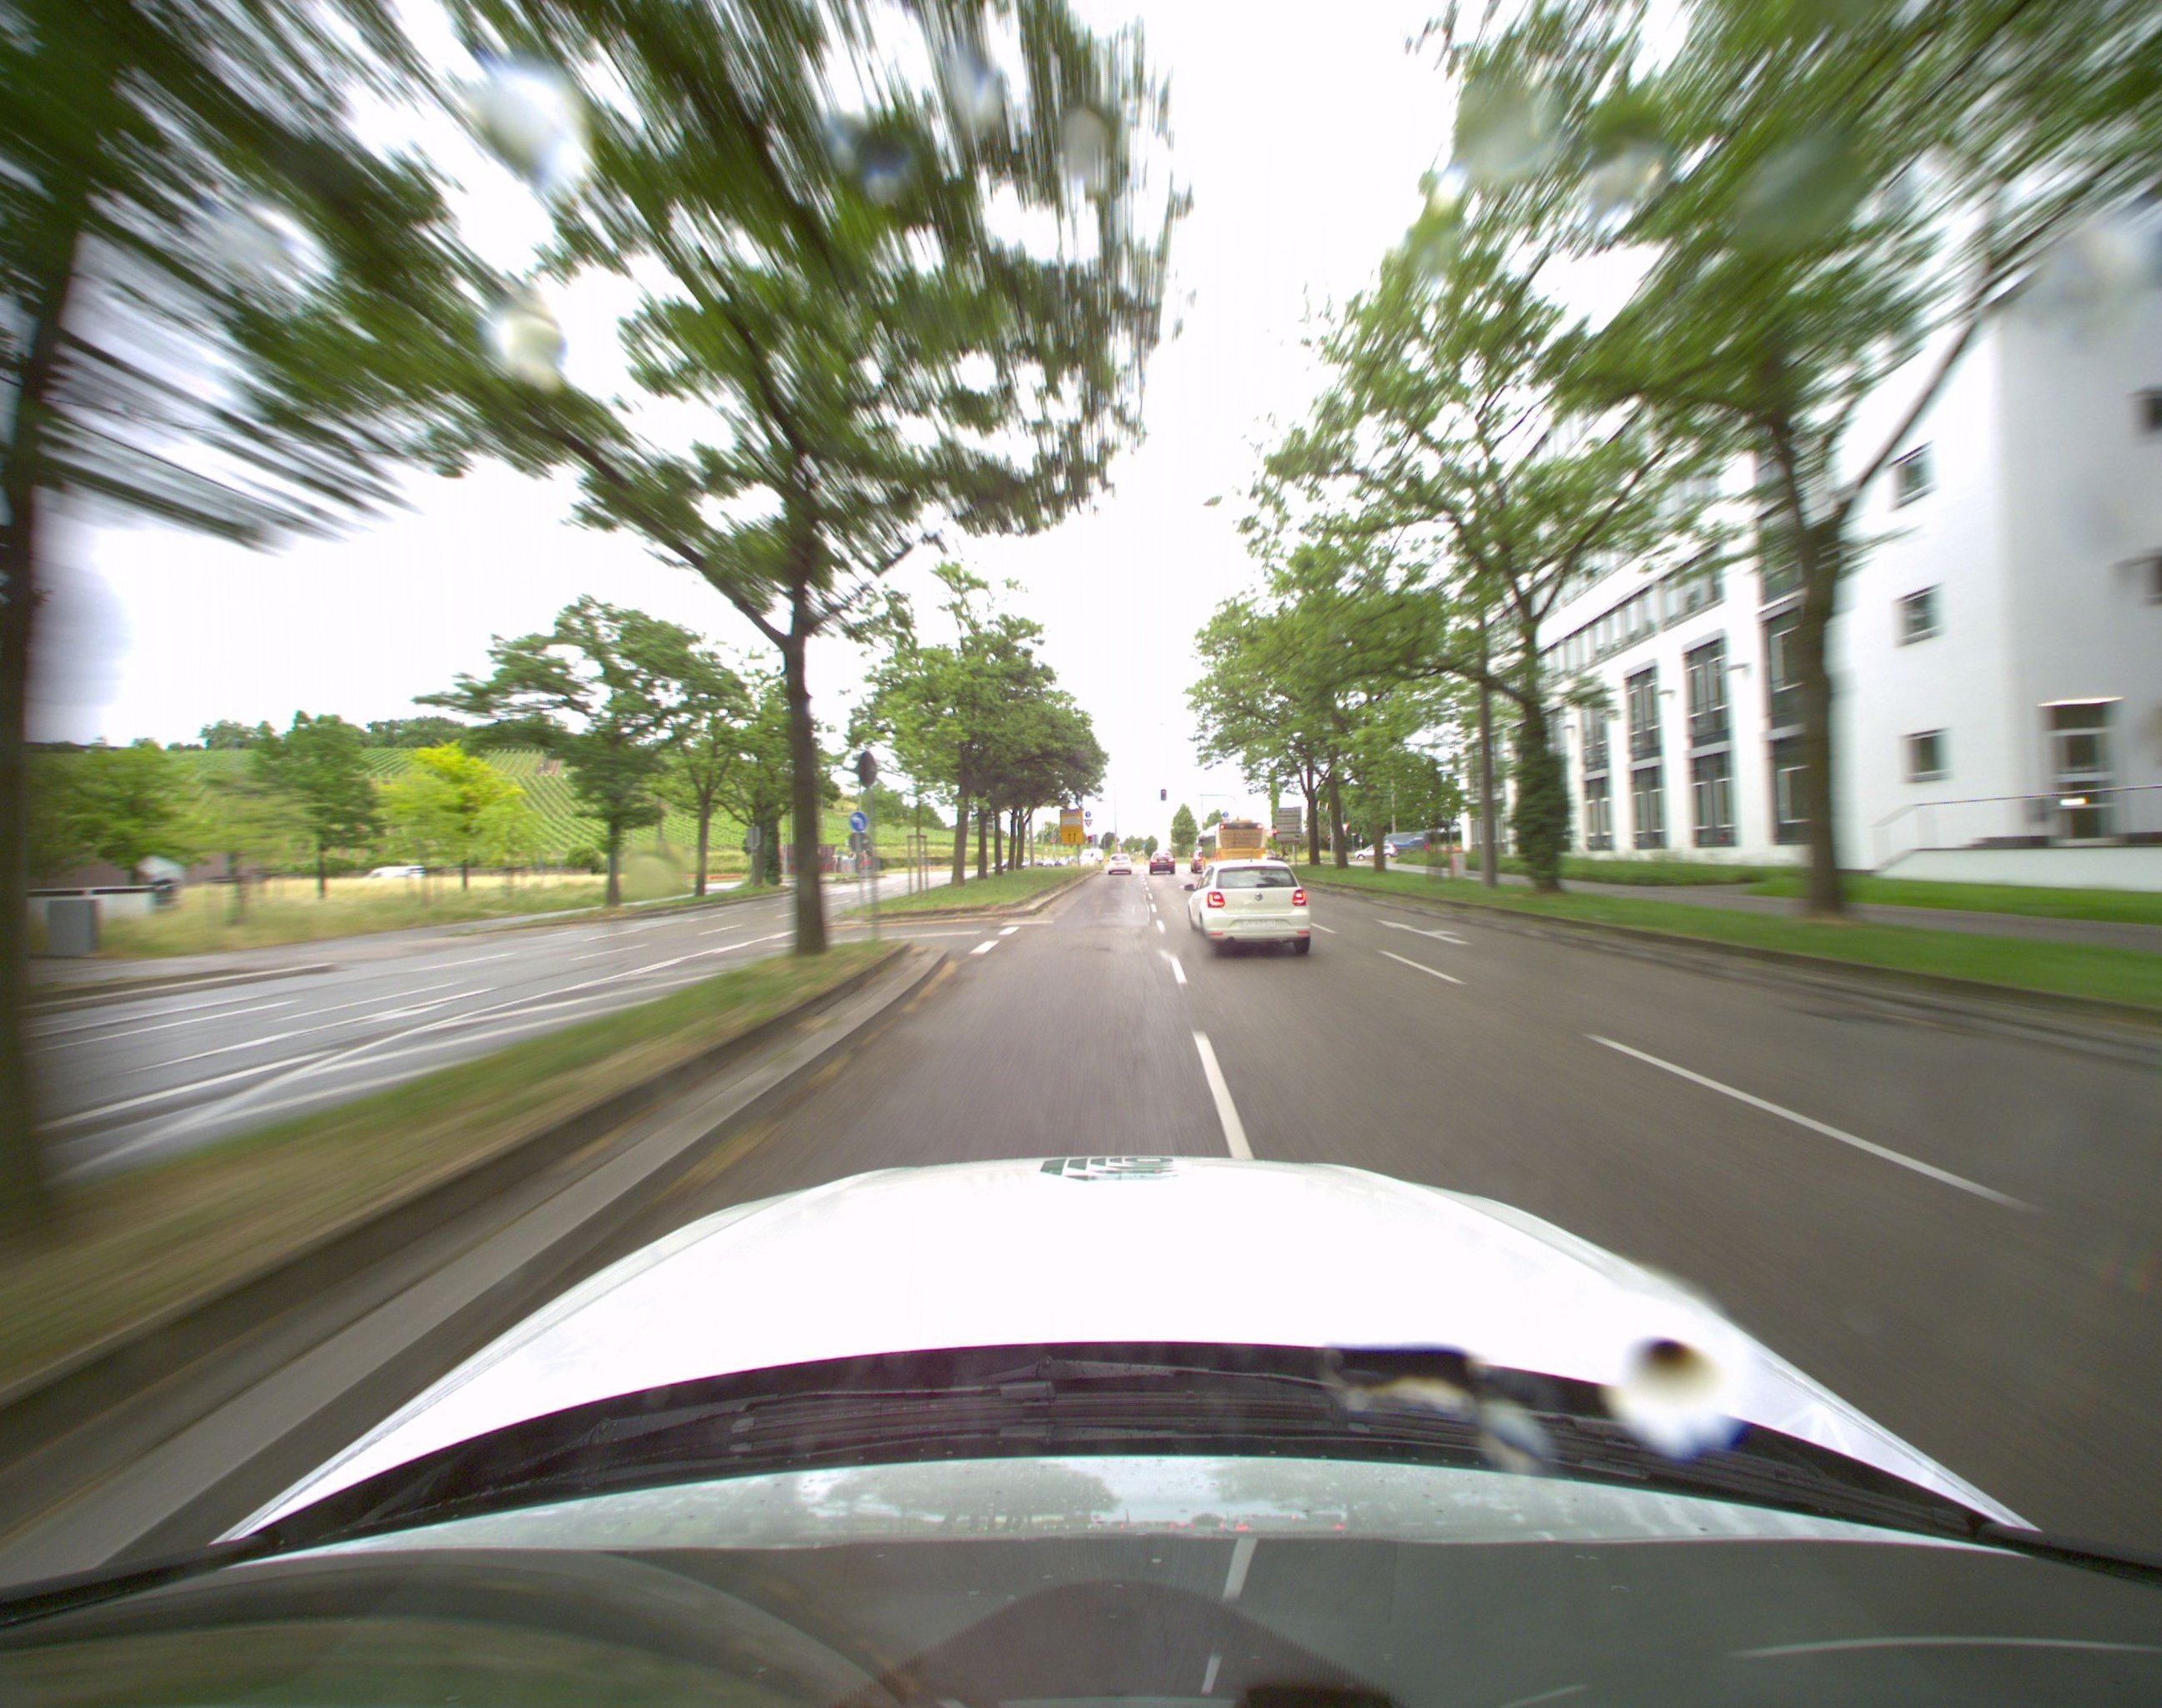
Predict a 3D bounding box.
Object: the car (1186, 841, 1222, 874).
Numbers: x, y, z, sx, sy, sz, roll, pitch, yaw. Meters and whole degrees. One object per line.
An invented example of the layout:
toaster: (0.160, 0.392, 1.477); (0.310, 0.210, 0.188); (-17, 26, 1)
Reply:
car: (8.056, 0.271, 53.511); (1.984, 2.014, 4.005); (-2, -1, 5)

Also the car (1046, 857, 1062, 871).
car: (-3.834, 1.434, 115.246); (1.986, 2.014, 4.000); (-2, -2, 1)

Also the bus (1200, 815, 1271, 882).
bus: (8.453, -0.306, 45.766); (2.815, 3.267, 10.013); (-2, 0, 5)

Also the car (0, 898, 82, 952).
car: (-44.426, 2.986, 33.452); (4.024, 2.013, 1.975); (-3, 0, -45)

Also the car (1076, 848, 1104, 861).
car: (1.589, 0.127, 138.482); (1.974, 2.013, 5.747); (-3, 0, 32)

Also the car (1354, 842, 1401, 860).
car: (28.415, -0.296, 78.062); (3.950, 1.536, 2.012); (-3, 0, 25)

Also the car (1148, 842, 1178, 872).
car: (5.842, 0.167, 58.595); (1.984, 2.013, 4.005); (-2, 1, 4)

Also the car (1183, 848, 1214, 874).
car: (8.493, 0.538, 59.164); (1.984, 1.717, 4.005); (-2, -1, 5)

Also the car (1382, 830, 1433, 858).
car: (31.809, -0.974, 79.341); (4.202, 2.563, 2.013); (-3, 0, 32)

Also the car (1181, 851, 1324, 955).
car: (2.762, 0.728, 13.958); (1.787, 1.502, 4.003); (-1, 0, 3)

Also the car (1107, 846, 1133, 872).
car: (2.910, 0.347, 60.341); (1.787, 1.741, 4.004); (-2, 0, 3)

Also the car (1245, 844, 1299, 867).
car: (13.534, 0.112, 57.678); (3.848, 1.515, 1.680); (-2, -1, -40)
